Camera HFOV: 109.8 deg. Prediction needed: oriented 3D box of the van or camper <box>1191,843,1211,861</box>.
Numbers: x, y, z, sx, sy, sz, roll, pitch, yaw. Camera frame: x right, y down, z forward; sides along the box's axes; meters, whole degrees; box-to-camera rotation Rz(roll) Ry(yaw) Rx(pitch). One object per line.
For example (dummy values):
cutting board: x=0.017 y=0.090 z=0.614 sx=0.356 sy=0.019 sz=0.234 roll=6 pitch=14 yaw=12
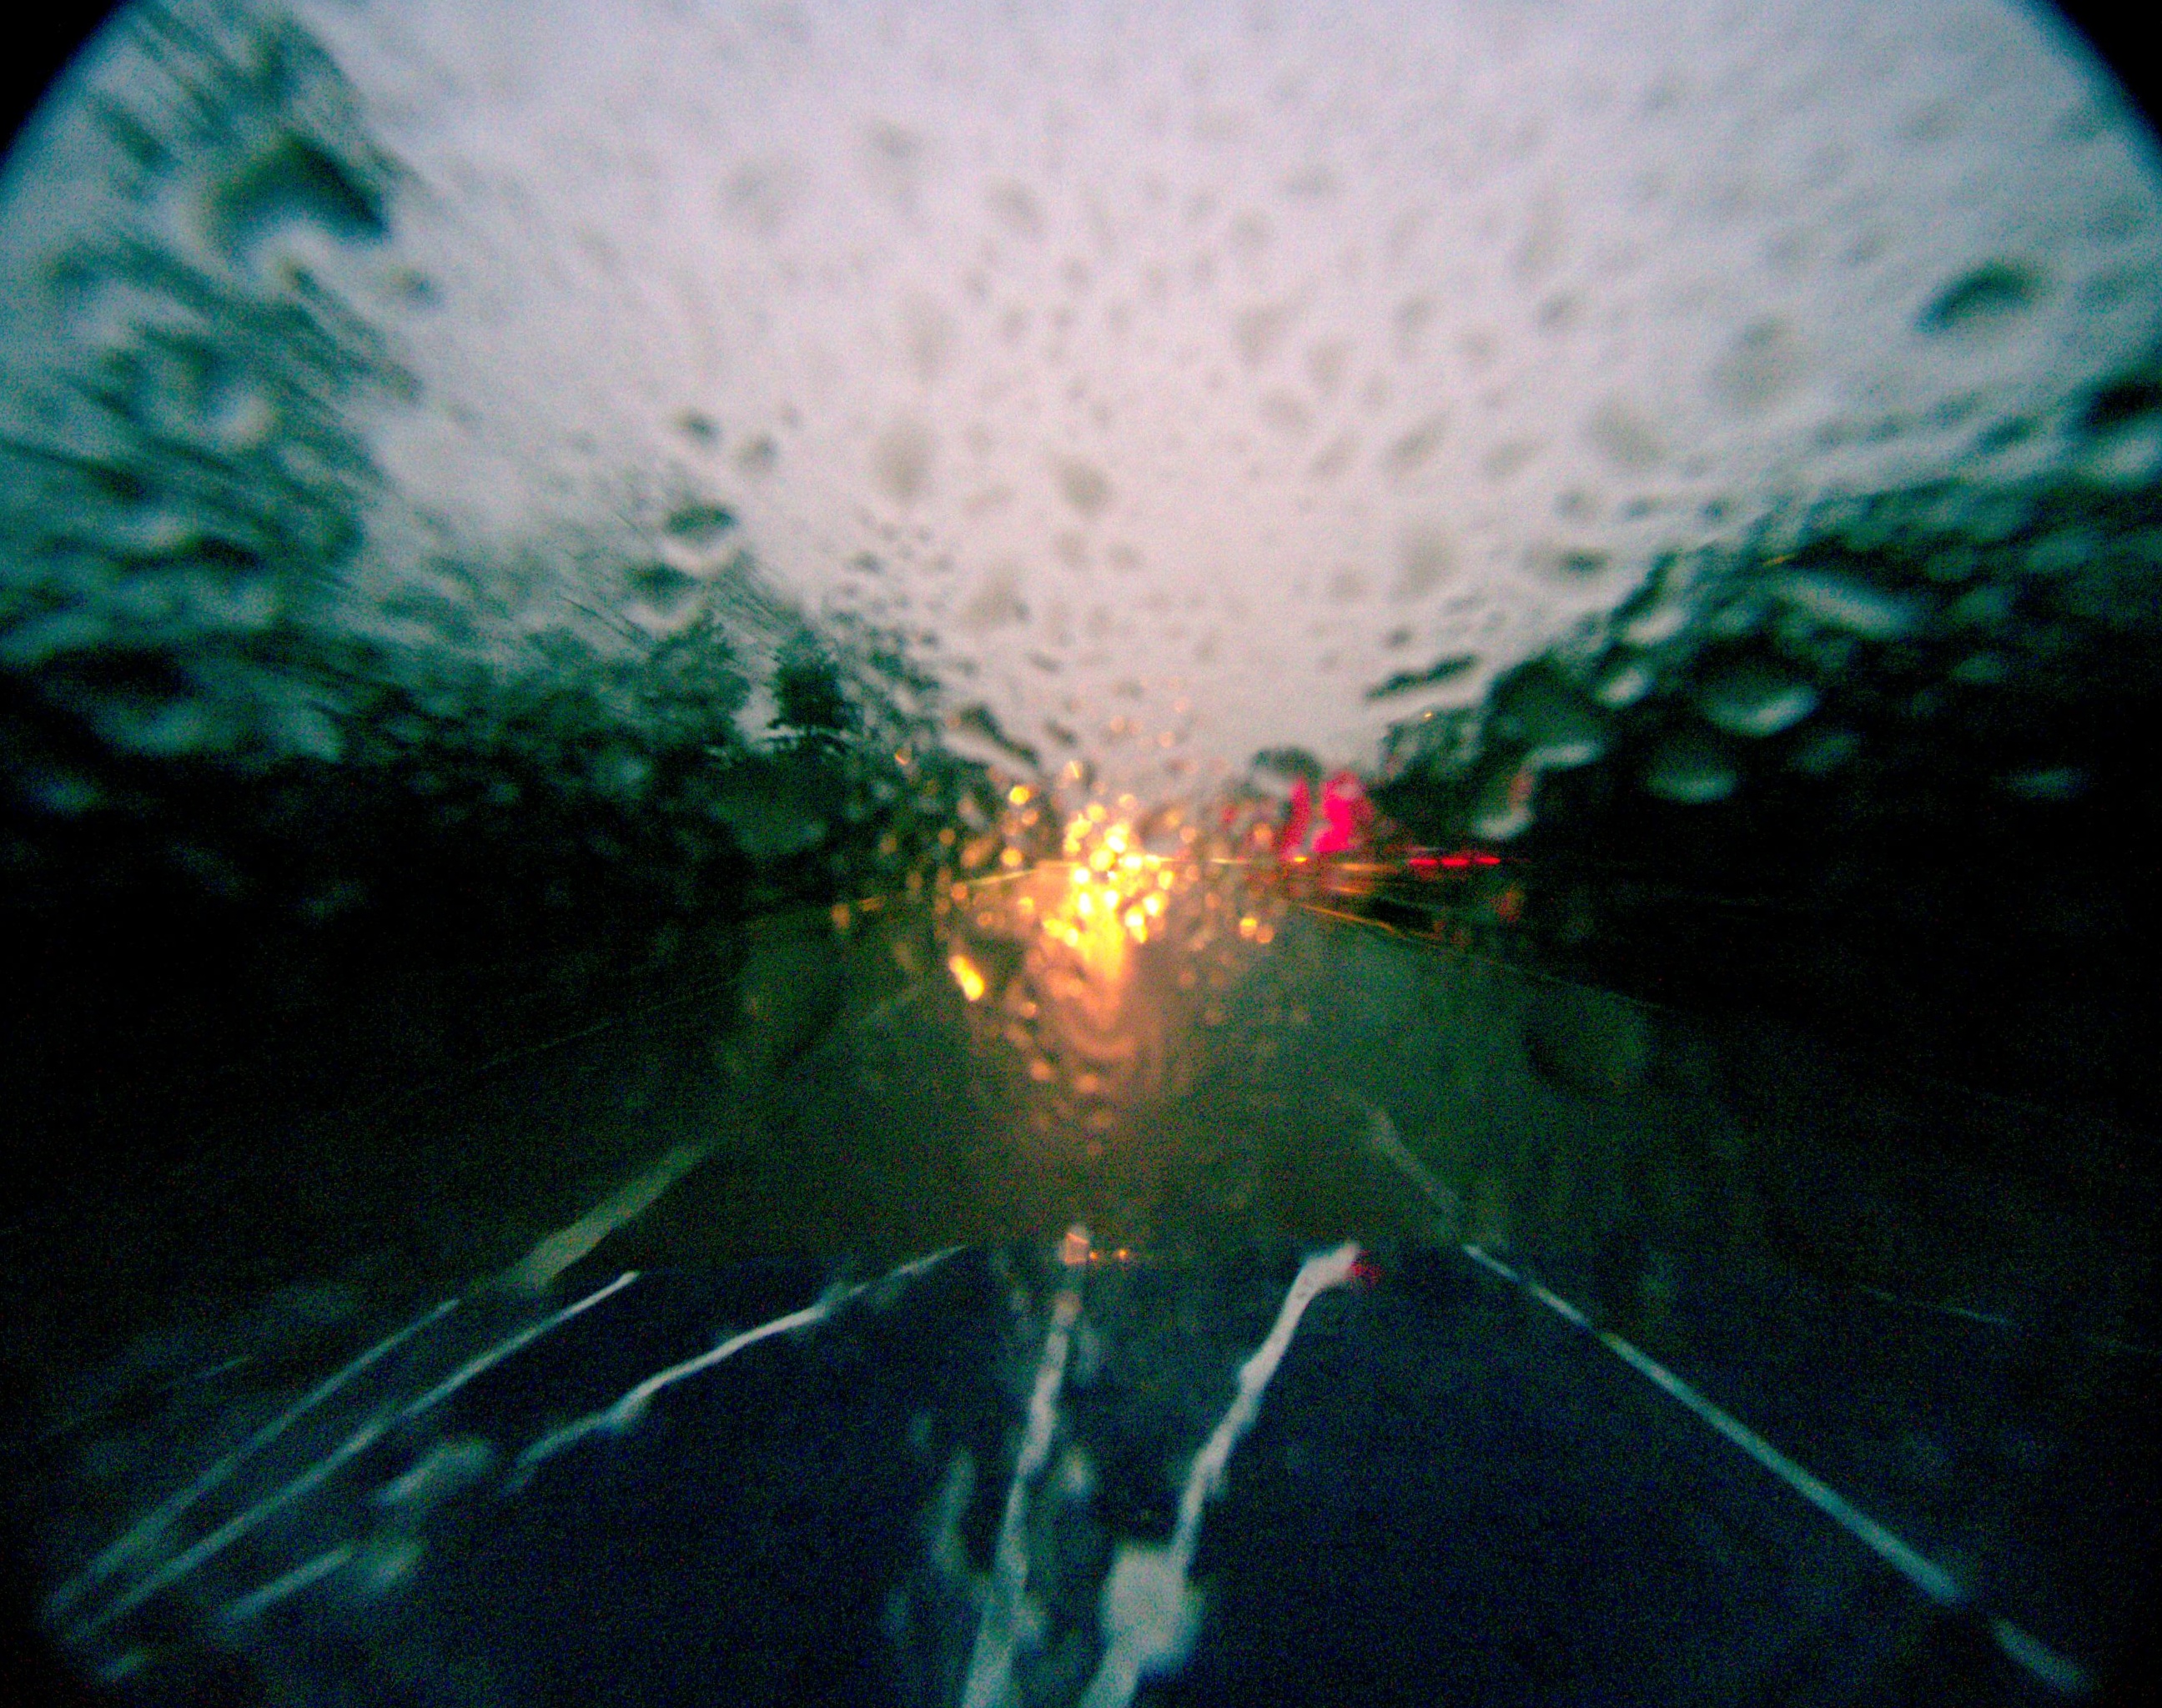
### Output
van or camper: x=18.699 y=-0.370 z=119.027 sx=2.081 sy=2.556 sz=7.404 roll=-5 pitch=0 yaw=2

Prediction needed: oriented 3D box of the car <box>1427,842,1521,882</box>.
car: x=17.633 y=0.338 z=34.369 sx=1.998 sy=1.669 sz=4.473 roll=-2 pitch=0 yaw=1

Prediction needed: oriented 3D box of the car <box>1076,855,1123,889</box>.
car: x=0.998 y=0.839 z=37.672 sx=1.951 sy=1.511 sz=4.789 roll=-2 pitch=0 yaw=6

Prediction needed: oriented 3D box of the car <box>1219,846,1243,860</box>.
car: x=16.578 y=-0.077 z=83.968 sx=1.900 sy=1.352 sz=4.208 roll=-5 pitch=0 yaw=3

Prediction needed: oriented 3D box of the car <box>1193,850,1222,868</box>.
car: x=12.006 y=0.436 z=72.476 sx=1.998 sy=1.517 sz=5.375 roll=-5 pitch=0 yaw=2

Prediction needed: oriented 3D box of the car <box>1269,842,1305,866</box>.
car: x=16.846 y=0.005 z=62.469 sx=1.998 sy=1.743 sz=4.901 roll=-5 pitch=0 yaw=6

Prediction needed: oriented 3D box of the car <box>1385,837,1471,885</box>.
car: x=14.384 y=0.291 z=31.741 sx=1.756 sy=1.743 sz=3.941 roll=-5 pitch=0 yaw=2

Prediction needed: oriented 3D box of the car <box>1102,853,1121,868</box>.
car: x=3.434 y=0.716 z=85.804 sx=1.841 sy=1.553 sz=3.867 roll=-5 pitch=0 yaw=0
